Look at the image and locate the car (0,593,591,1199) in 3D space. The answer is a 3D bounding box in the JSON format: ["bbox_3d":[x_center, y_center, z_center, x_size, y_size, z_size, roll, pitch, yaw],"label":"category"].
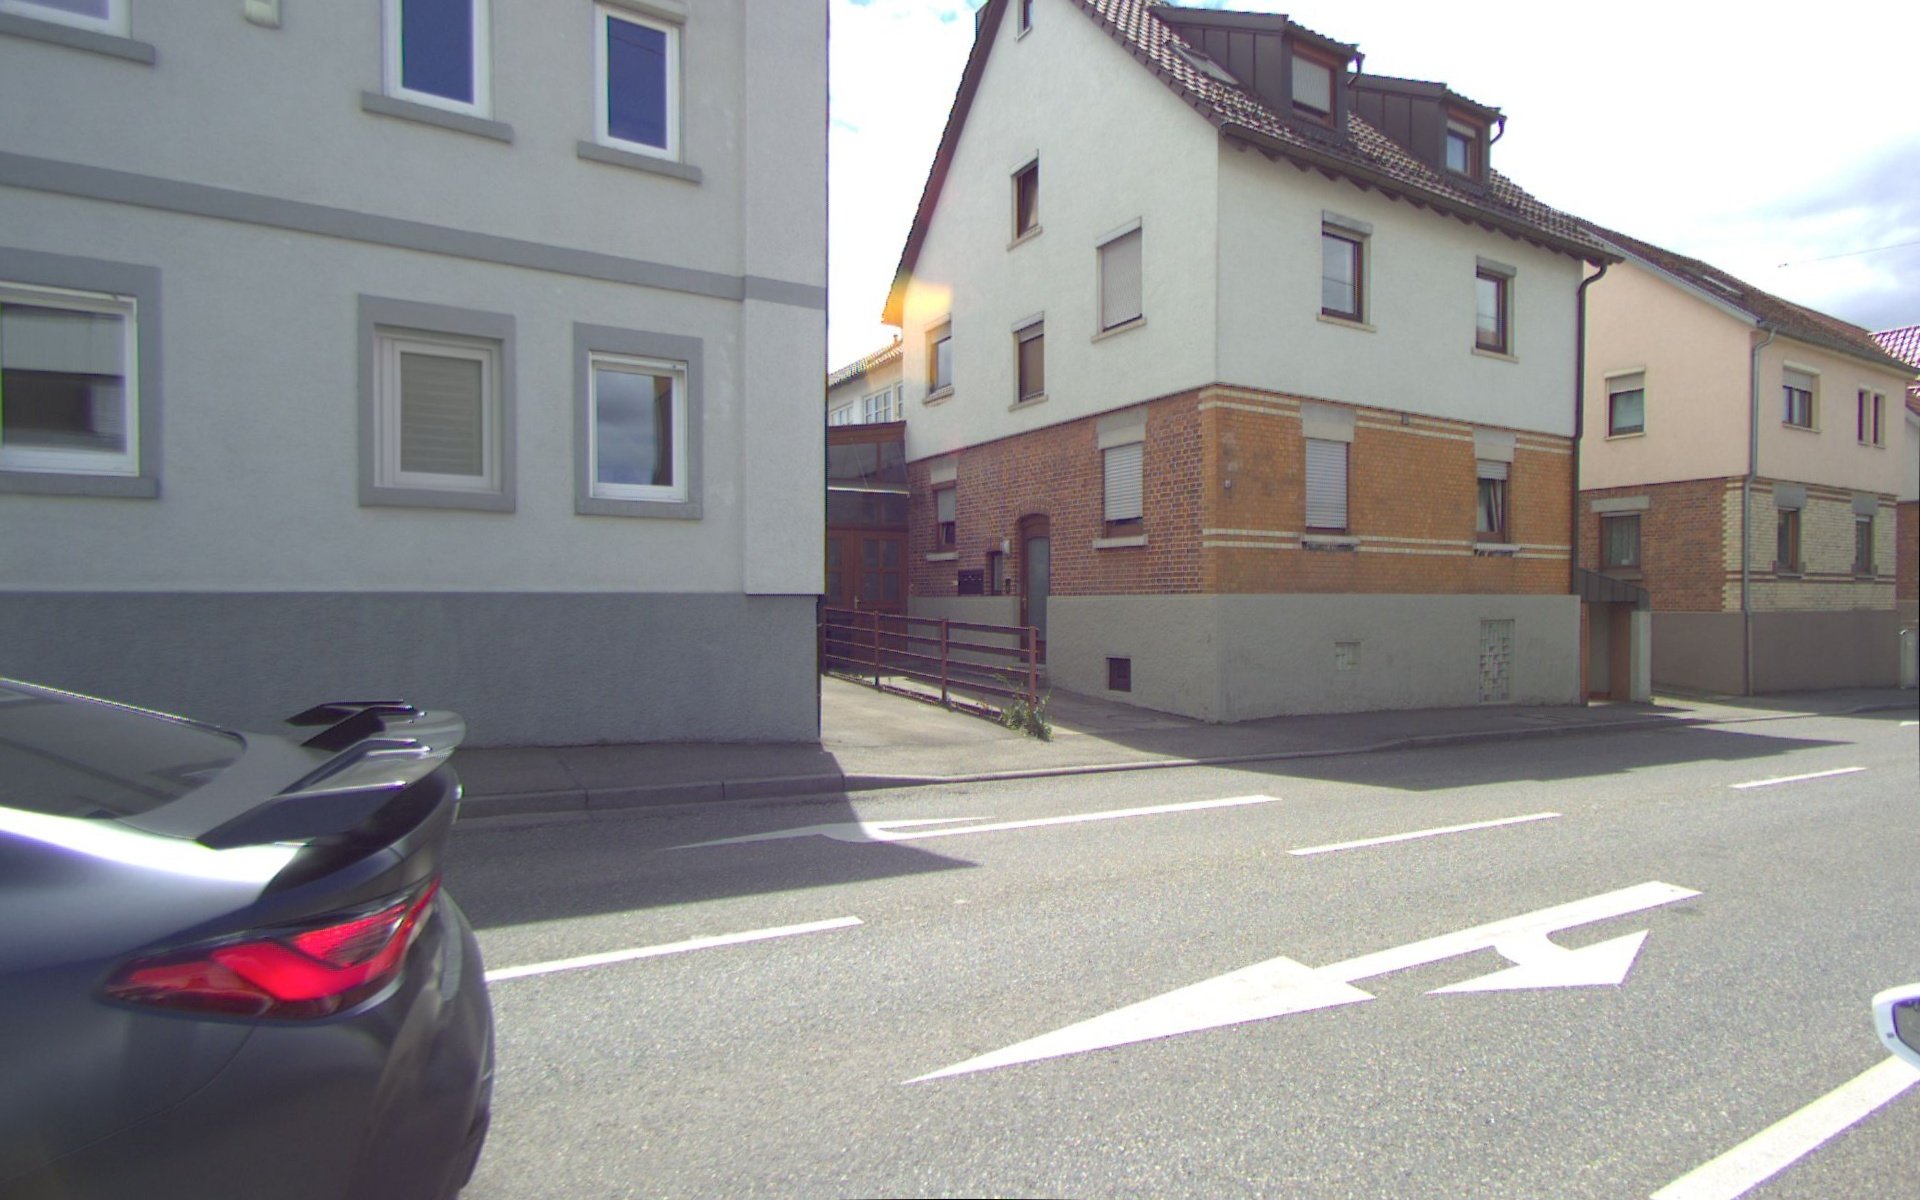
[{"bbox_3d":[-3.071,0.706,1.378,4.562,1.476,1.985,1,-1,-30],"label":"car"}]

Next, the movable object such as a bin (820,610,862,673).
[{"bbox_3d":[-2.284,0.784,19.266,0.569,1.165,0.680,1,0,-29],"label":"movable object such as a bin"}]

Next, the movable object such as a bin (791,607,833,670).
[{"bbox_3d":[-2.793,0.716,18.947,0.569,1.165,0.680,1,0,-29],"label":"movable object such as a bin"}]
